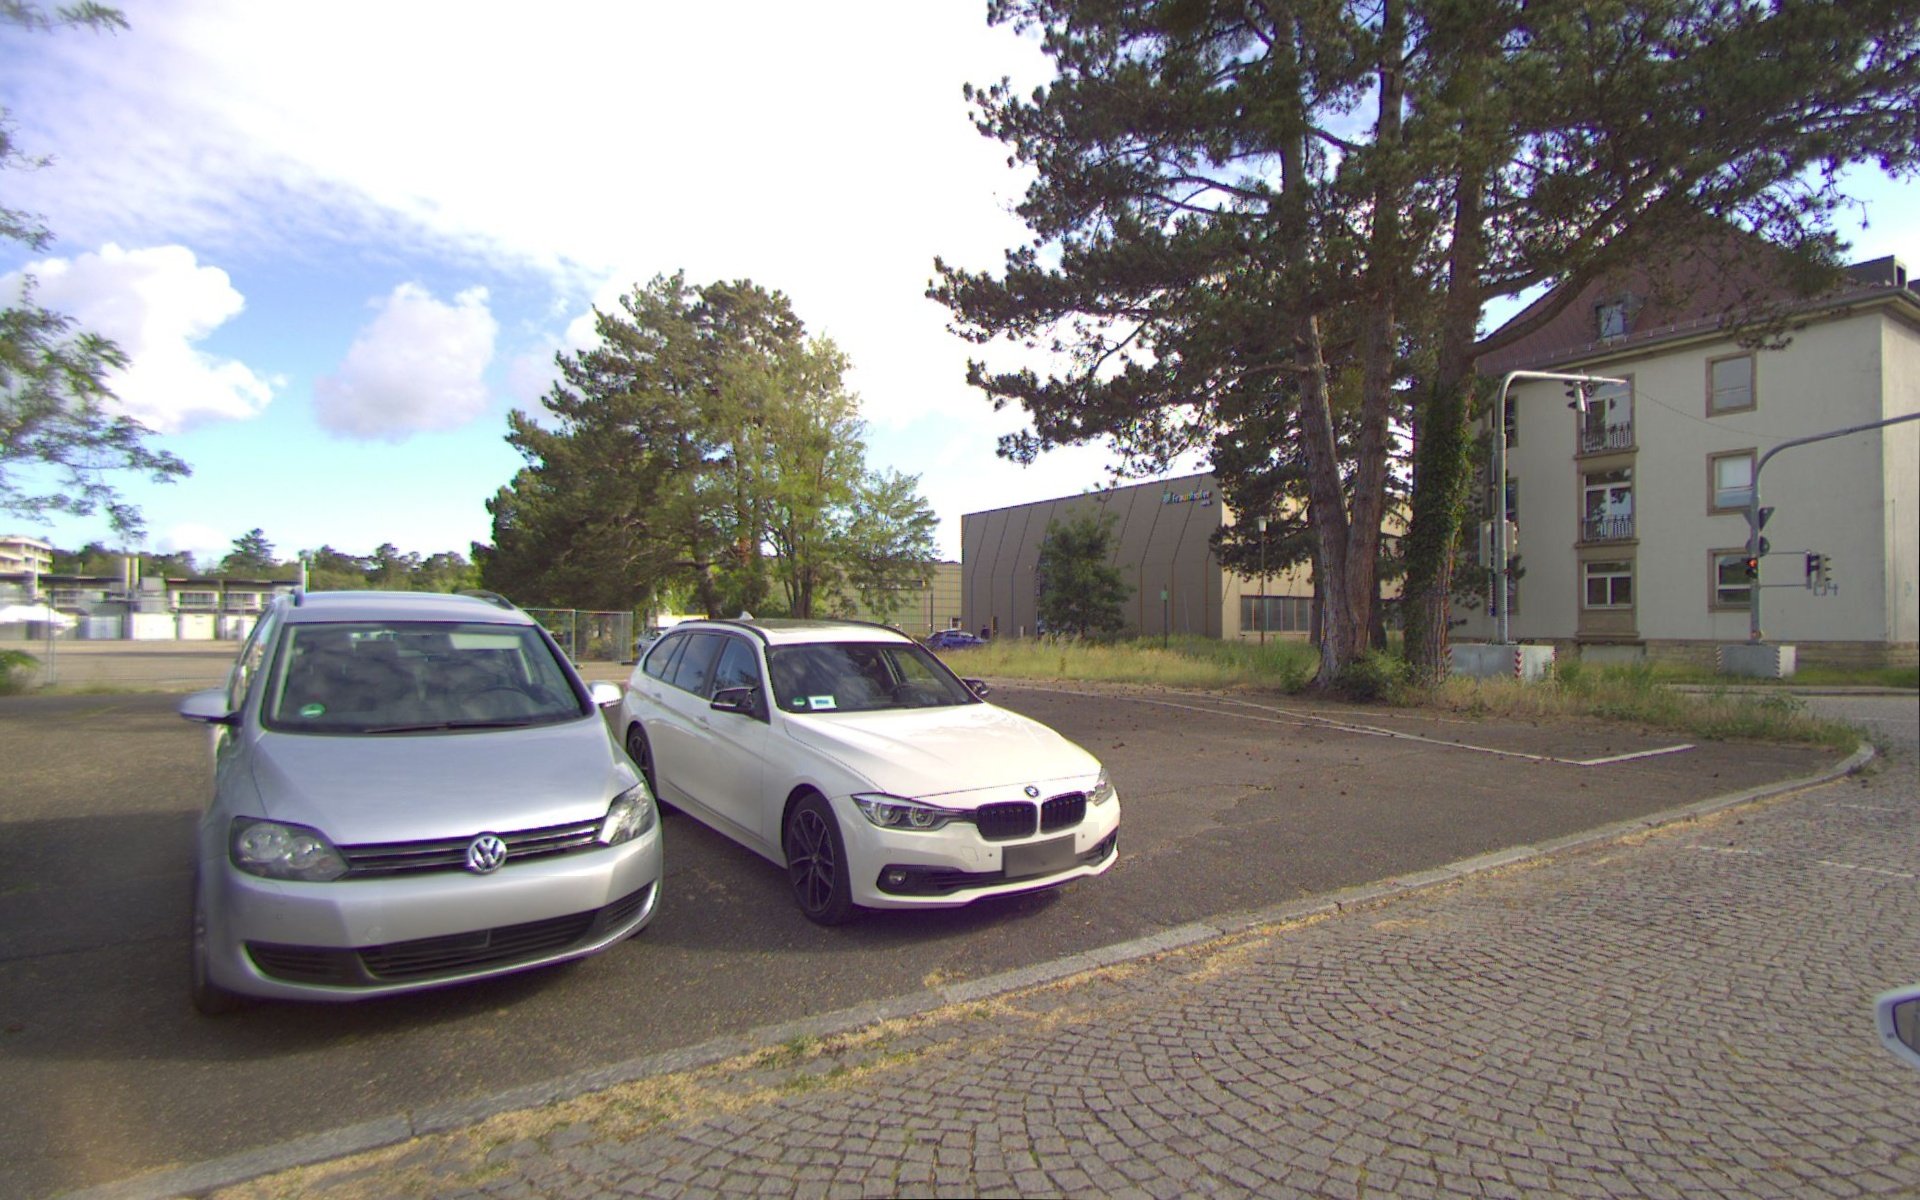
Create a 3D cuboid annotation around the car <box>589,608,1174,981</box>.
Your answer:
[{"bbox_3d":[-0.892,0.870,6.684,1.813,1.461,4.446,1,1,-36],"label":"car"}]

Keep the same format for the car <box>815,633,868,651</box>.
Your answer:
[{"bbox_3d":[-8.498,2.997,72.147,3.623,1.217,1.319,1,-2,-30],"label":"car"}]

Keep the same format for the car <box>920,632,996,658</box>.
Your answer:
[{"bbox_3d":[-0.119,2.589,57.974,4.083,1.433,1.750,1,-2,-30],"label":"car"}]

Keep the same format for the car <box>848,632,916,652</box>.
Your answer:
[{"bbox_3d":[-5.098,2.729,65.623,4.148,1.289,1.598,1,-2,-30],"label":"car"}]

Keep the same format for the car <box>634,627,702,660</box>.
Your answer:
[{"bbox_3d":[-12.602,1.858,43.229,1.577,1.355,3.703,1,-2,-38],"label":"car"}]

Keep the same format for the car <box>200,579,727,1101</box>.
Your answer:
[{"bbox_3d":[-2.764,0.734,5.206,1.718,1.628,3.805,1,1,-35],"label":"car"}]

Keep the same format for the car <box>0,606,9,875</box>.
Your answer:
[{"bbox_3d":[-4.817,0.780,3.374,1.677,1.427,3.812,1,1,-33],"label":"car"}]
